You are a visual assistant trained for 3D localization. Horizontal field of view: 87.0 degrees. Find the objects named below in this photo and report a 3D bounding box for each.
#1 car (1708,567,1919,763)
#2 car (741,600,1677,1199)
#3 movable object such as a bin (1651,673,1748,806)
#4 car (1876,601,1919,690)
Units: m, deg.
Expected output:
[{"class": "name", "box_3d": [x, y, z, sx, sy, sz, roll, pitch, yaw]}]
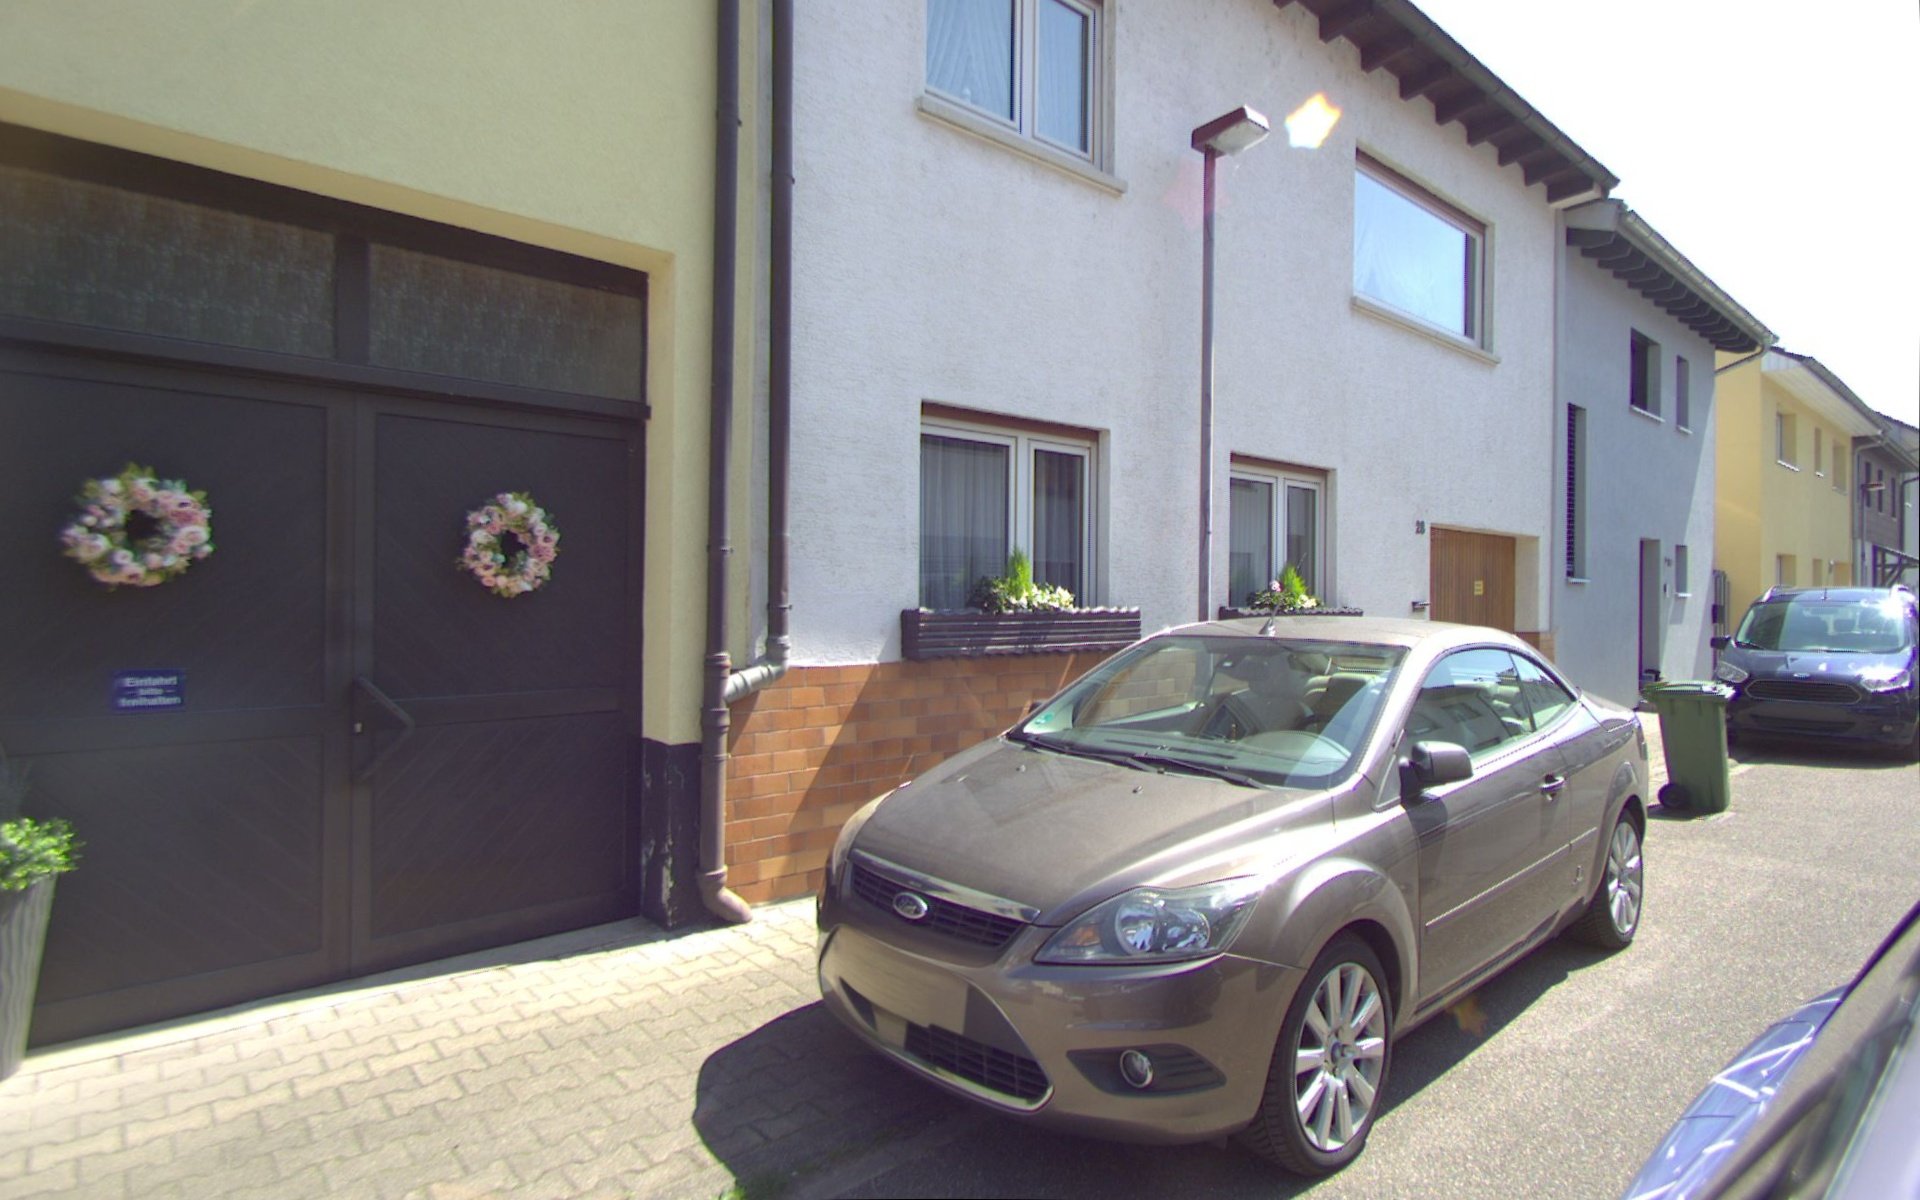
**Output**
[{"class": "car", "box_3d": [9.887, 0.560, 11.252, 4.127, 1.799, 1.699, -1, 1, -41]}, {"class": "car", "box_3d": [1.332, 0.738, 4.047, 4.033, 1.453, 1.699, 0, 0, -43]}, {"class": "movable object such as a bin", "box_3d": [5.671, 1.044, 7.760, 0.549, 0.903, 0.570, 0, 0, 43]}, {"class": "car", "box_3d": [17.588, 0.776, 17.850, 4.174, 1.432, 1.665, 0, 2, -42]}]
